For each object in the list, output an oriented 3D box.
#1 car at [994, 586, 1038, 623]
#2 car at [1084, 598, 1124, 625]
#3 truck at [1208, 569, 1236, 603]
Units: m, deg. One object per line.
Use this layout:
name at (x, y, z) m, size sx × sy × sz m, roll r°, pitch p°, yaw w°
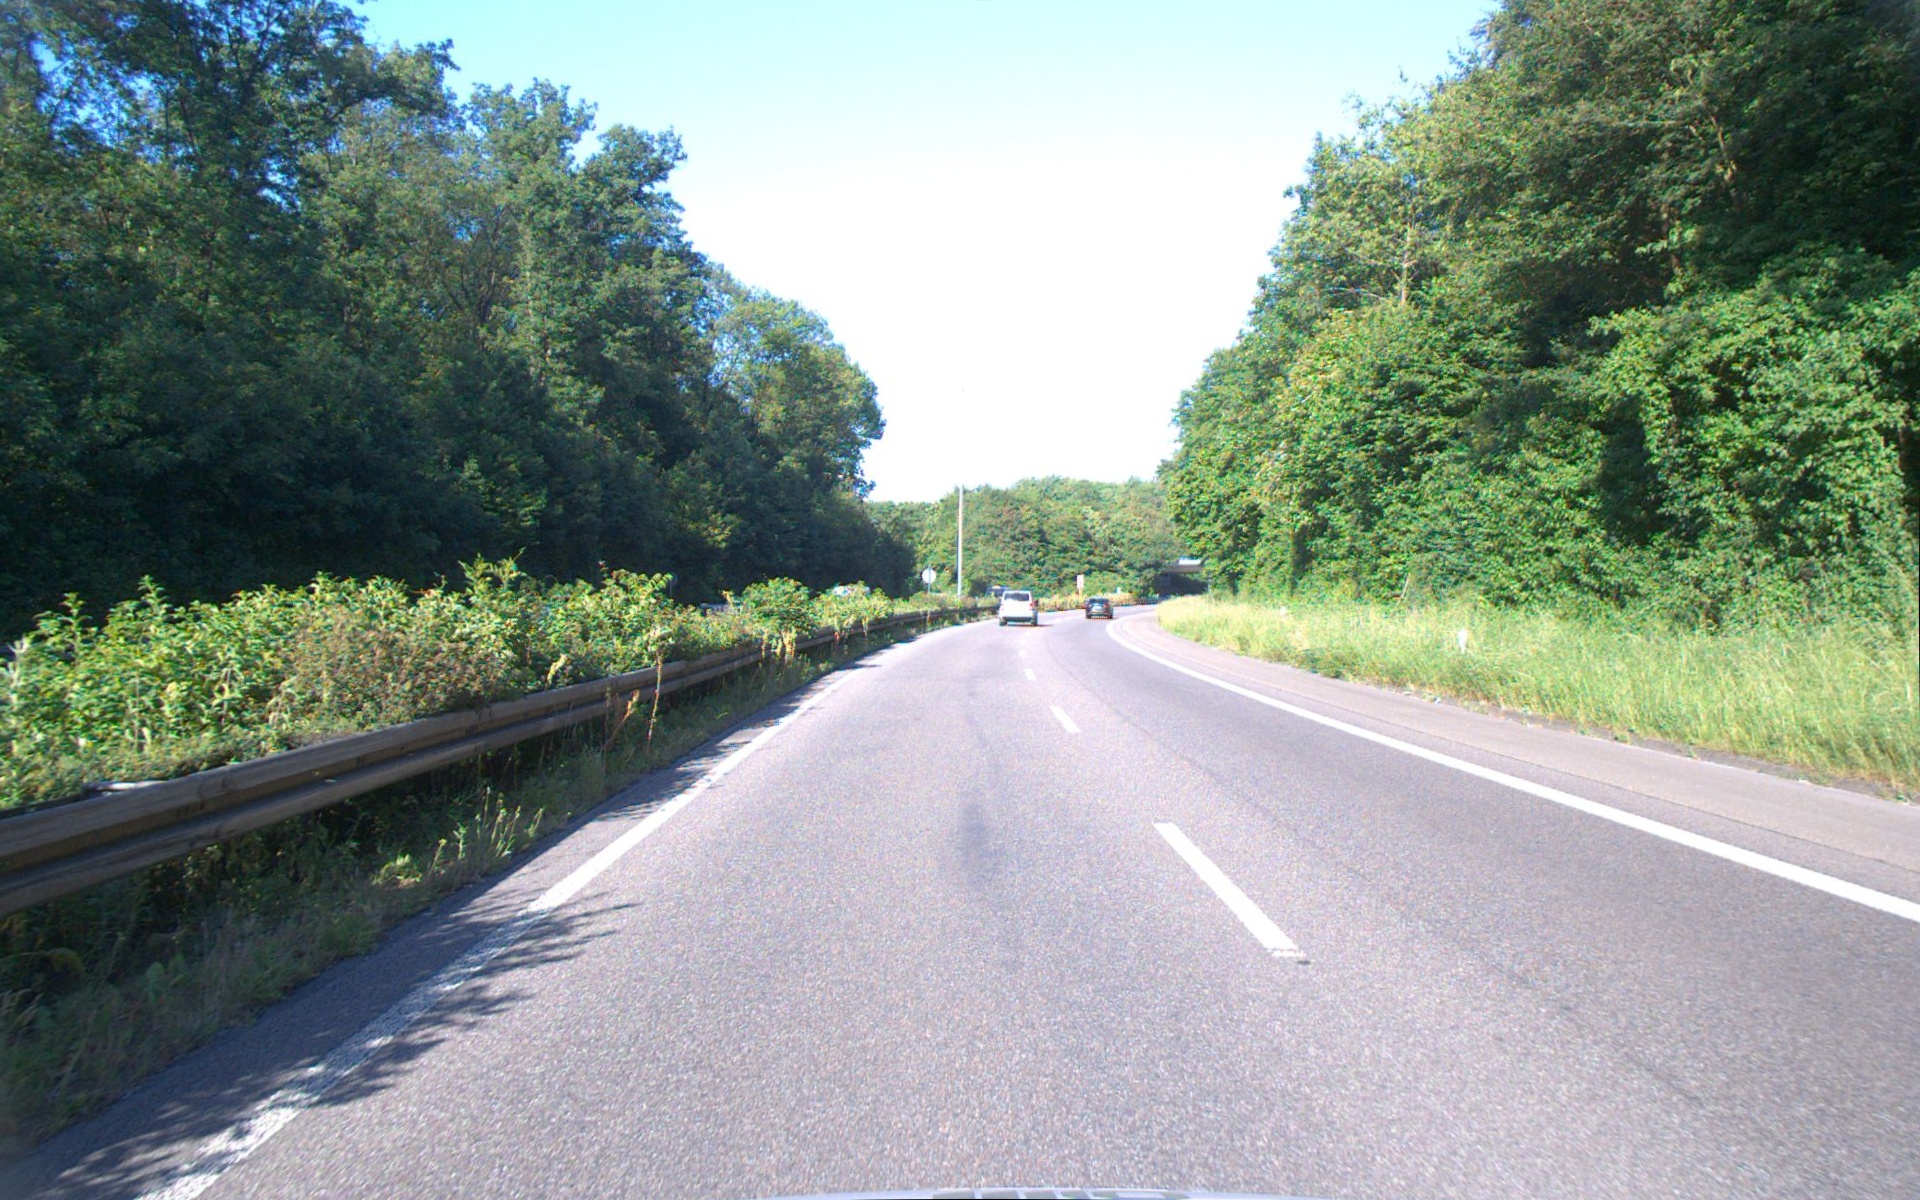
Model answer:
car at (2.858, 0.237, 85.109) m, size 1.912 × 1.813 × 4.586 m, roll 1°, pitch 0°, yaw -2°
car at (10.053, 0.830, 115.261) m, size 1.910 × 1.813 × 4.590 m, roll 1°, pitch 0°, yaw 17°
truck at (36.019, -1.845, 226.993) m, size 3.654 × 4.419 × 9.312 m, roll 1°, pitch 0°, yaw 10°
